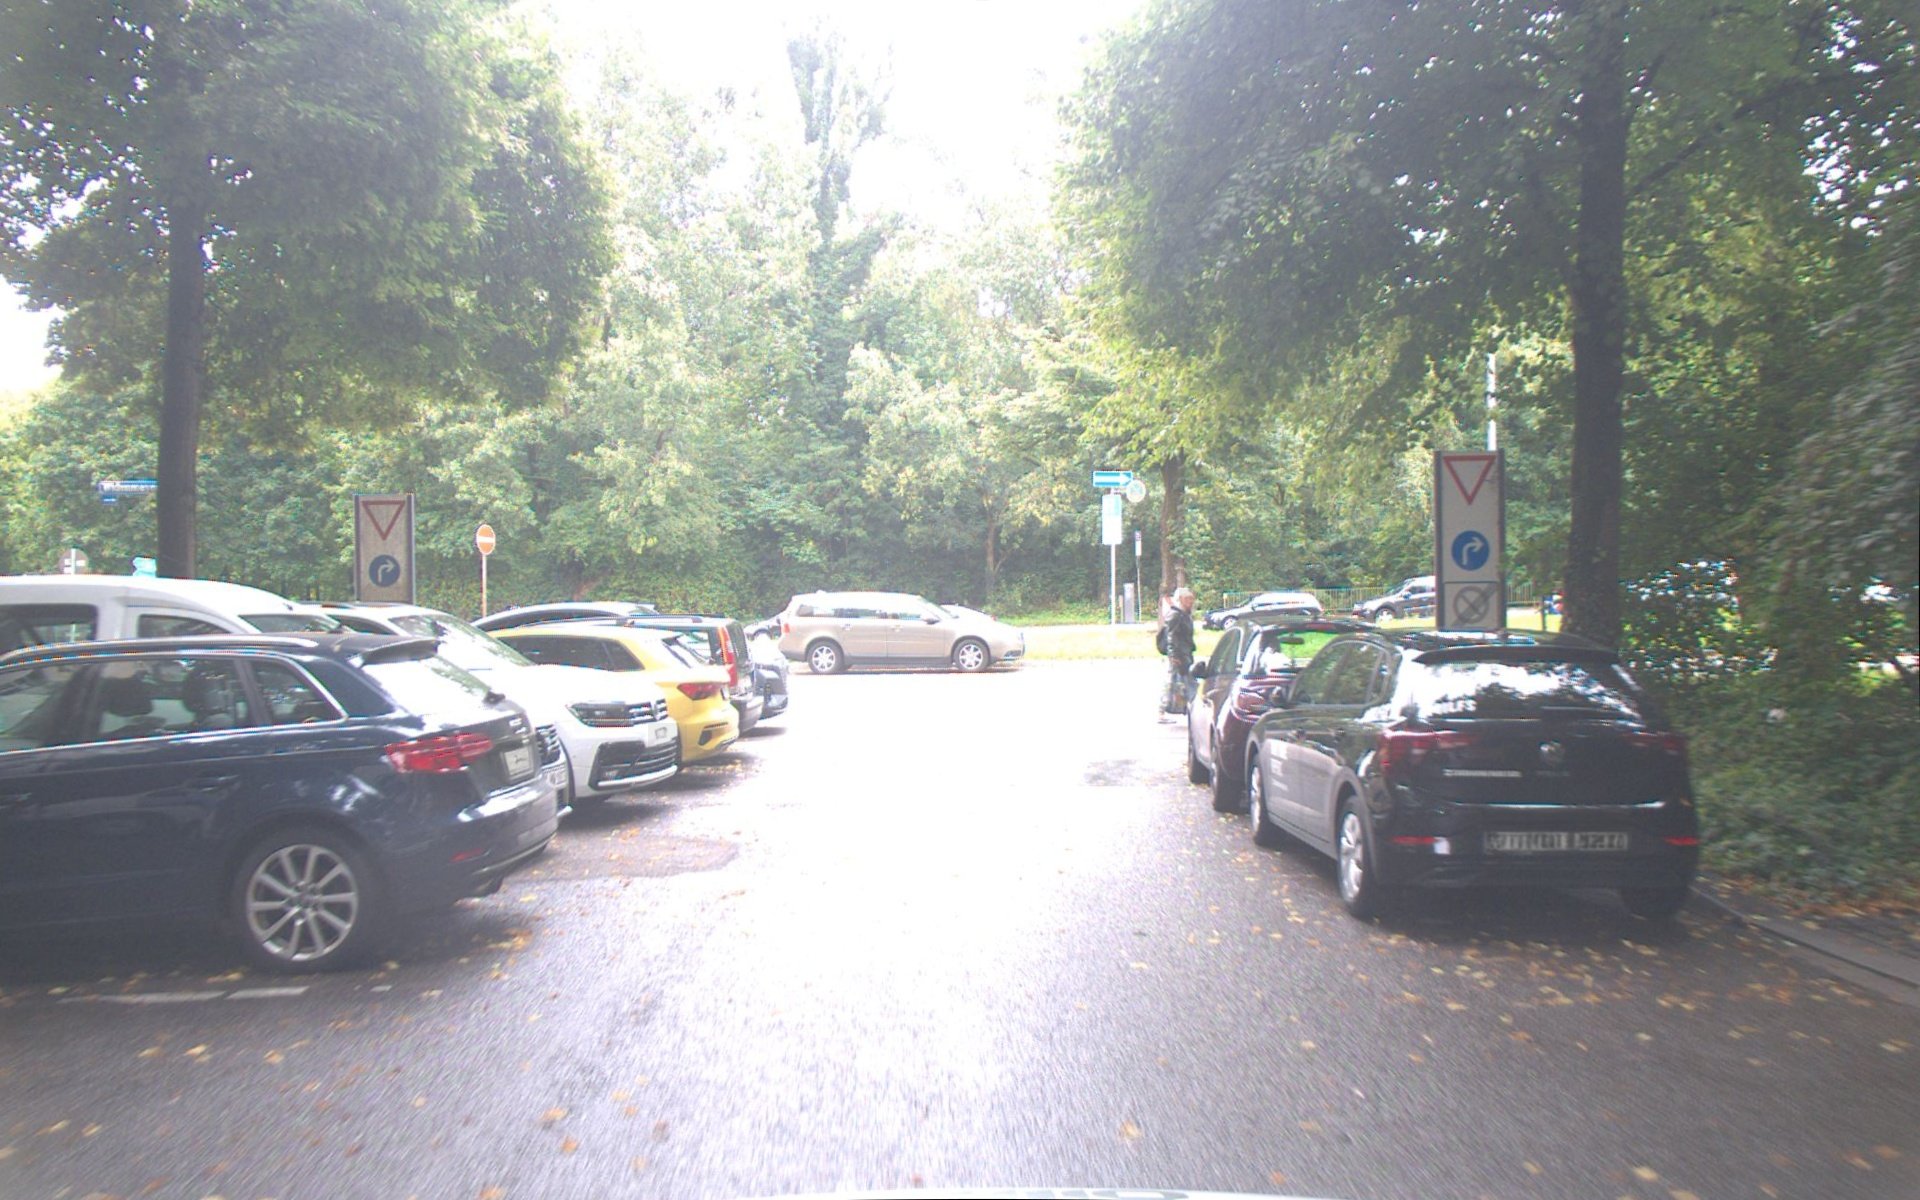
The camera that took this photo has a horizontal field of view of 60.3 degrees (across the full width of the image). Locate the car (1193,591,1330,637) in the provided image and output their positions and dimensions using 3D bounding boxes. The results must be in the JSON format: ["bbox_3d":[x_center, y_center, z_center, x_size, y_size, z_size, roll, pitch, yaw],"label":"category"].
[{"bbox_3d":[10.978,0.503,60.357,4.495,1.497,1.928,-2,0,-8],"label":"car"}]

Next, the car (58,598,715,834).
[{"bbox_3d":[-4.249,0.834,12.666,4.354,1.624,1.836,-1,0,5],"label":"car"}]

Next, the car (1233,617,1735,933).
[{"bbox_3d":[2.763,0.832,9.671,1.647,1.382,4.009,0,0,0],"label":"car"}]

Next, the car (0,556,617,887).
[{"bbox_3d":[-4.487,0.707,10.252,4.223,1.761,1.849,-2,0,3],"label":"car"}]

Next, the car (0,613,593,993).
[{"bbox_3d":[-3.862,0.869,7.609,3.905,1.458,1.736,-2,0,0],"label":"car"}]

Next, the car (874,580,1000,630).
[{"bbox_3d":[-0.832,0.175,58.907,4.345,1.606,1.931,-2,0,-2],"label":"car"}]

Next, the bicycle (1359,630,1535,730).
[{"bbox_3d":[5.068,0.834,17.271,1.714,0.999,0.273,-2,0,9],"label":"bicycle"}]

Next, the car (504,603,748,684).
[{"bbox_3d":[-6.436,0.837,32.085,4.255,1.404,1.771,-2,0,8],"label":"car"}]

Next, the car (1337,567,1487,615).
[{"bbox_3d":[16.580,-0.317,60.762,4.935,1.593,1.996,-2,0,-8],"label":"car"}]

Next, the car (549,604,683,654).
[{"bbox_3d":[-12.107,1.014,58.432,4.347,1.606,1.930,-2,0,-4],"label":"car"}]

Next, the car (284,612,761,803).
[{"bbox_3d":[-3.820,0.921,14.943,3.800,1.466,1.740,-2,0,-1],"label":"car"}]

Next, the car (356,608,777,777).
[{"bbox_3d":[-3.975,0.916,17.189,3.905,1.489,1.736,-2,1,0],"label":"car"}]

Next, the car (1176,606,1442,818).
[{"bbox_3d":[2.793,0.830,13.930,1.613,1.500,3.644,-1,0,3],"label":"car"}]

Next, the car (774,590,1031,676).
[{"bbox_3d":[-1.045,0.617,31.615,4.700,1.522,1.843,-1,0,5],"label":"car"}]

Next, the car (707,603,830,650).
[{"bbox_3d":[-6.759,0.925,58.803,4.148,1.520,1.999,-2,0,-2],"label":"car"}]

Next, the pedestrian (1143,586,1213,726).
[{"bbox_3d":[2.657,0.670,20.209,0.763,1.645,0.761,-1,2,3],"label":"pedestrian"}]

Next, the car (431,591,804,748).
[{"bbox_3d":[-4.030,0.797,19.965,4.077,1.629,1.736,-2,2,0],"label":"car"}]
